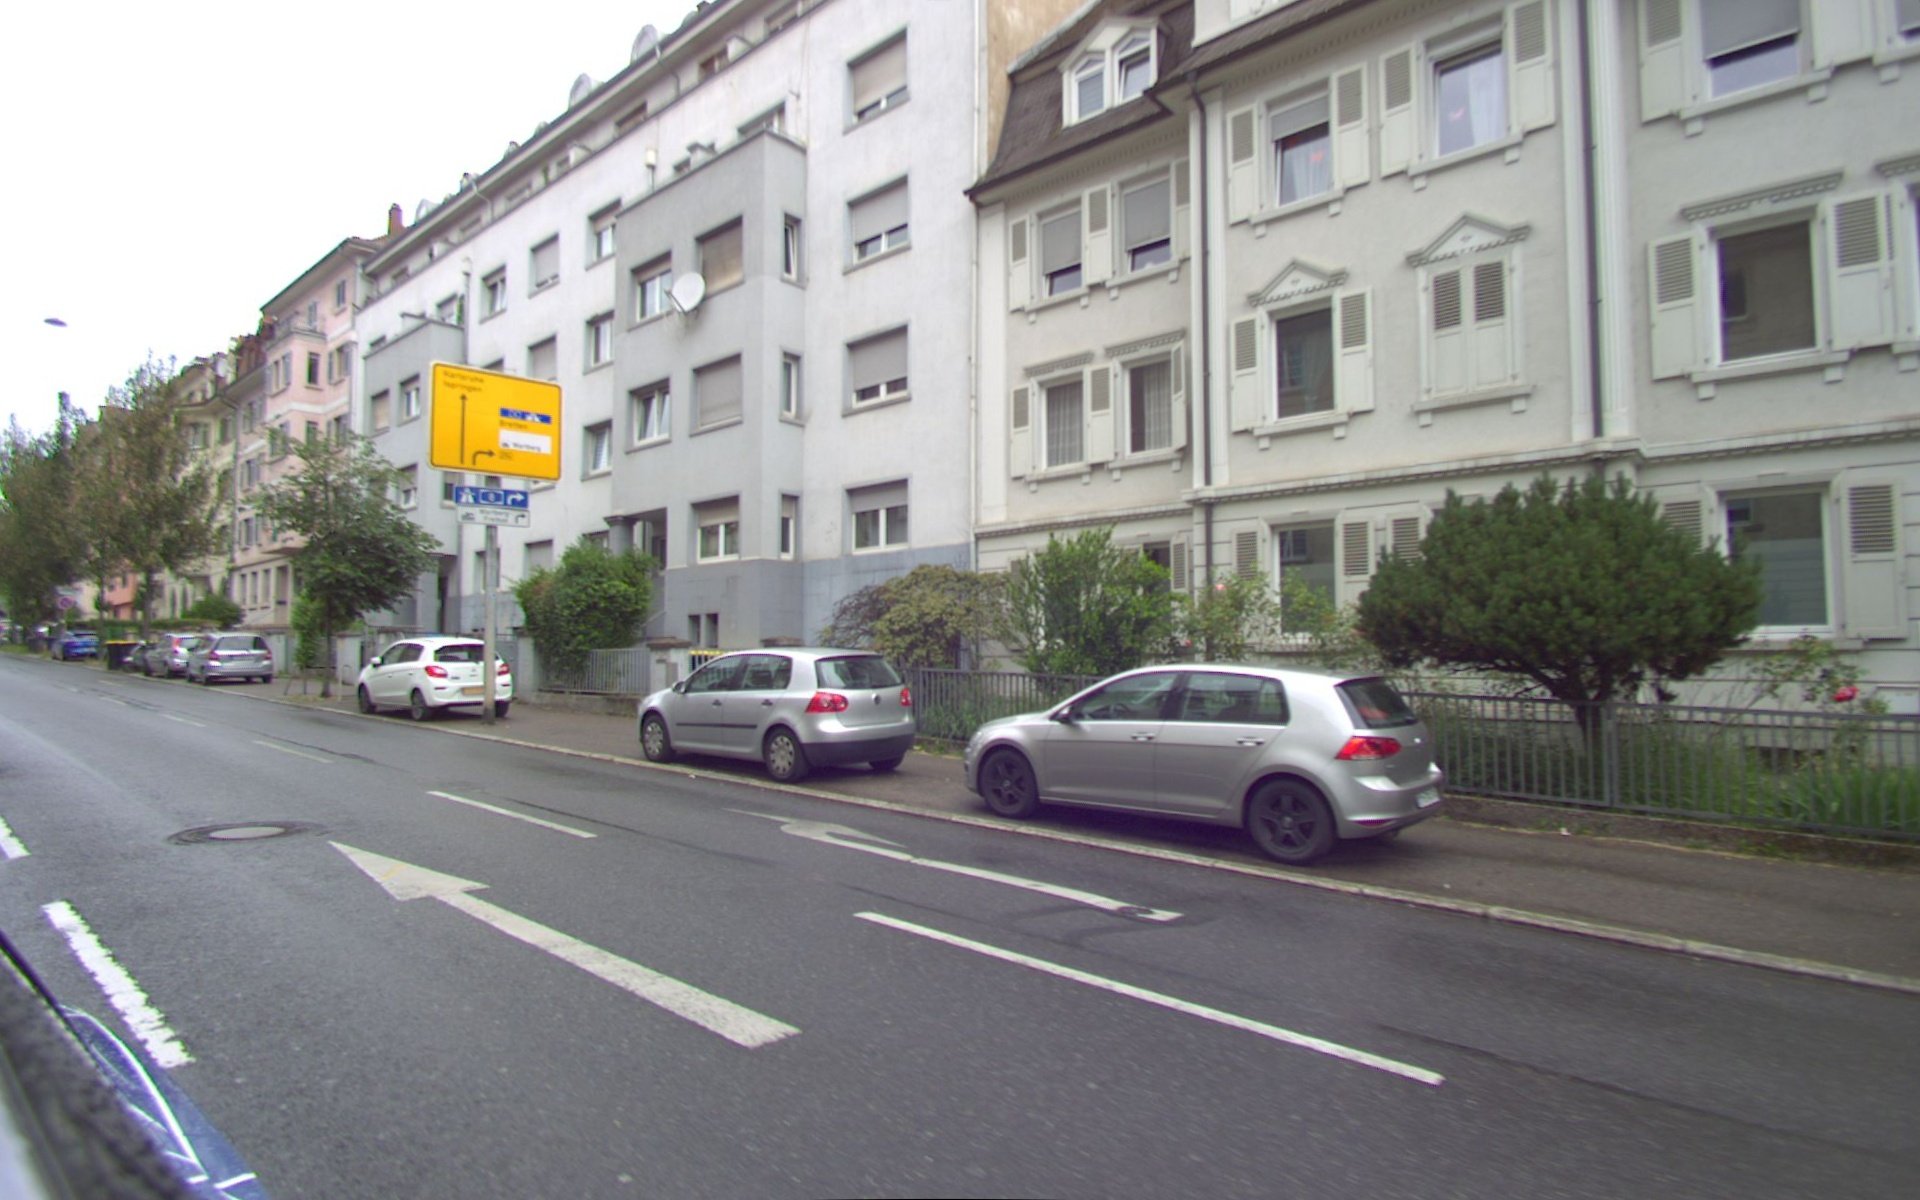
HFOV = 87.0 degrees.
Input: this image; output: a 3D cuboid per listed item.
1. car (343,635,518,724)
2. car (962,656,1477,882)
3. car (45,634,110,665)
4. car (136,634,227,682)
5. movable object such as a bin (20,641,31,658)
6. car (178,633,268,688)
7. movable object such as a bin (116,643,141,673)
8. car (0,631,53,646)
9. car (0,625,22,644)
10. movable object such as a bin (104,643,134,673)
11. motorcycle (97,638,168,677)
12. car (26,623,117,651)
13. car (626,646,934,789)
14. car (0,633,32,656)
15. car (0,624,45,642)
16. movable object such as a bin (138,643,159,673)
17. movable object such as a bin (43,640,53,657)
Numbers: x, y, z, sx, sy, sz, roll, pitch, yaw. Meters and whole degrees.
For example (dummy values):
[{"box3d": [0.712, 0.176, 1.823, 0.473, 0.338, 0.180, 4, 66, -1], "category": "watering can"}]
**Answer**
[{"box3d": [-10.182, 1.443, 19.358, 3.793, 1.519, 1.629, -1, -3, 40], "category": "car"}, {"box3d": [2.040, 1.220, 8.633, 3.935, 1.401, 1.664, -1, -3, 42], "category": "car"}, {"box3d": [-41.184, 2.279, 47.185, 4.601, 1.396, 1.661, -1, -3, 42], "category": "car"}, {"box3d": [-25.532, 1.867, 33.157, 3.885, 1.407, 1.584, 0, -2, 41], "category": "car"}, {"box3d": [-51.008, 2.696, 55.234, 0.572, 0.896, 0.360, -1, -1, 41], "category": "movable object such as a bin"}, {"box3d": [-21.894, 1.743, 30.026, 1.582, 1.462, 3.889, 0, -2, -45], "category": "car"}, {"box3d": [-30.467, 2.133, 37.089, 0.480, 1.066, 0.522, 0, 0, 20], "category": "movable object such as a bin"}, {"box3d": [-86.976, 3.568, 94.042, 1.646, 1.307, 3.877, 0, -3, 42], "category": "car"}, {"box3d": [-97.247, 3.462, 101.894, 1.865, 1.861, 3.880, 0, -3, 39], "category": "car"}, {"box3d": [-31.499, 2.170, 37.915, 0.483, 1.066, 0.816, 0, 1, 42], "category": "movable object such as a bin"}, {"box3d": [-29.316, 2.038, 35.877, 1.783, 1.325, 0.743, 1, -3, -7], "category": "motorcycle"}, {"box3d": [-64.223, 2.621, 73.205, 1.917, 1.919, 4.672, 0, -1, 39], "category": "car"}, {"box3d": [-2.303, 1.300, 12.363, 3.908, 1.401, 1.665, -2, -2, 42], "category": "car"}, {"box3d": [-62.372, 2.891, 66.419, 4.136, 1.428, 1.663, -1, -4, 42], "category": "car"}, {"box3d": [-94.798, 3.300, 101.791, 1.592, 1.634, 3.877, 0, -3, 42], "category": "car"}, {"box3d": [-30.146, 2.138, 37.597, 0.482, 1.066, 0.467, 0, 0, 32], "category": "movable object such as a bin"}, {"box3d": [-50.359, 2.677, 55.875, 0.572, 0.918, 0.360, 0, -1, 41], "category": "movable object such as a bin"}]
